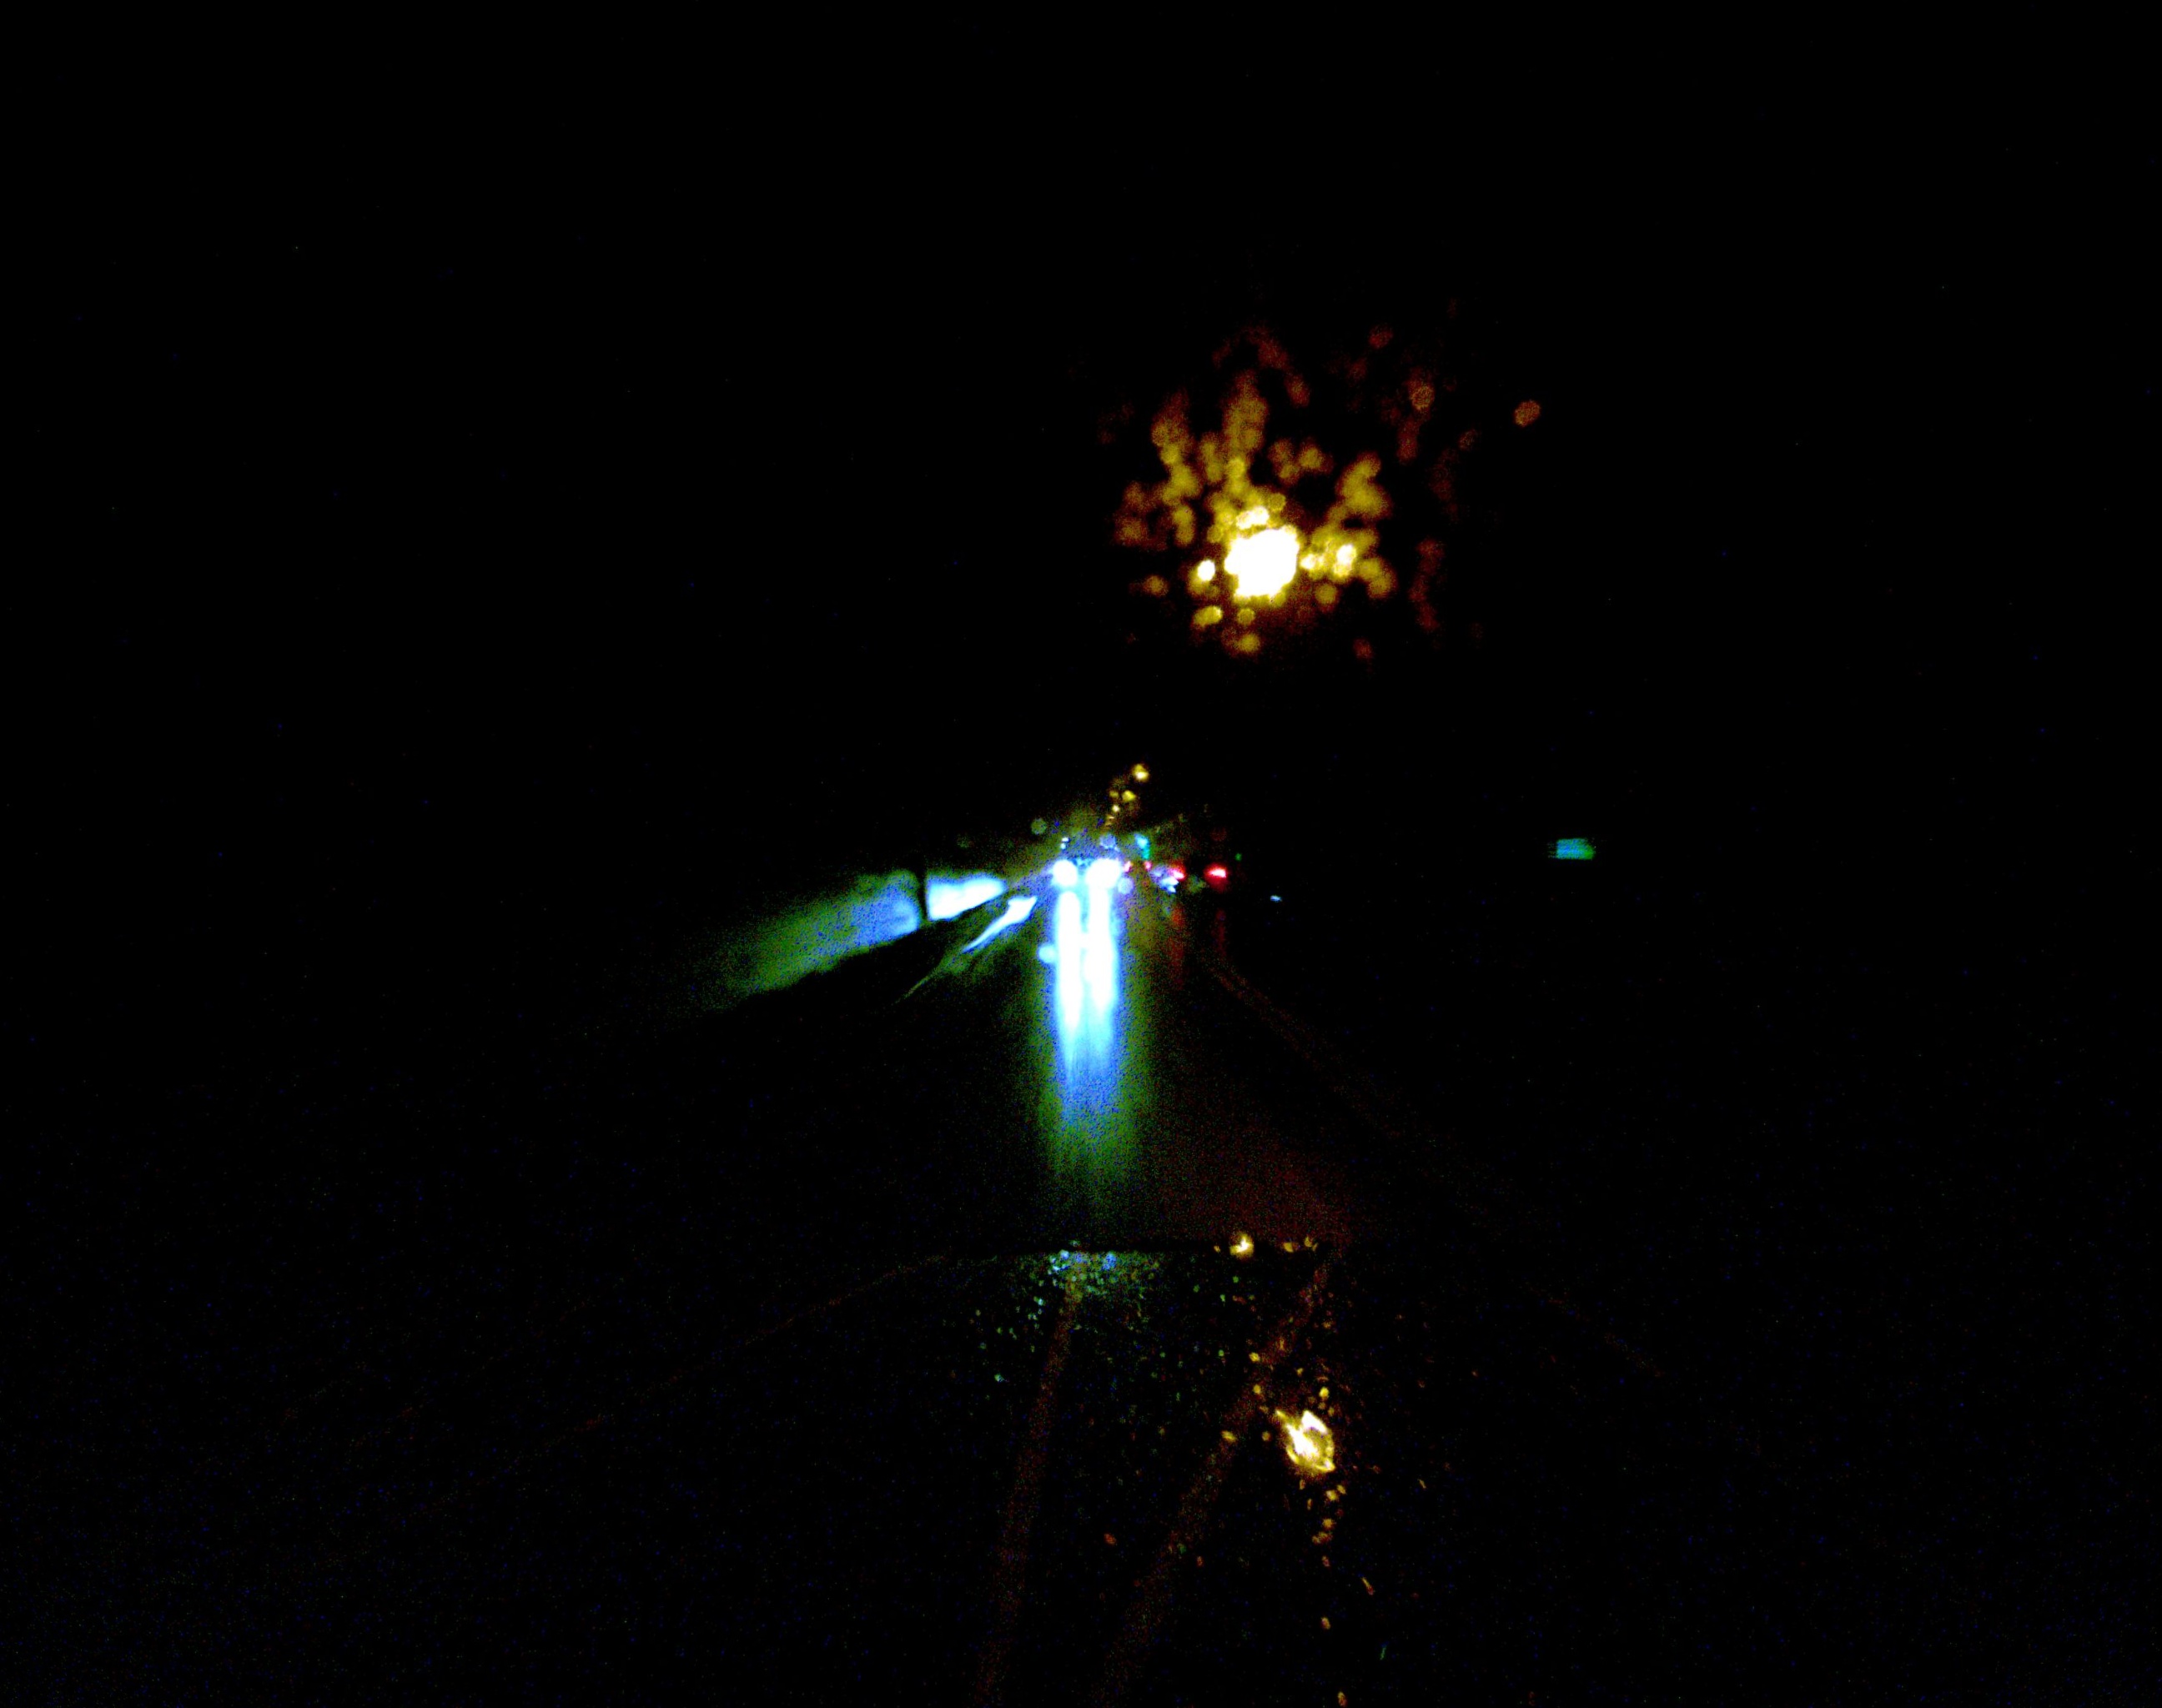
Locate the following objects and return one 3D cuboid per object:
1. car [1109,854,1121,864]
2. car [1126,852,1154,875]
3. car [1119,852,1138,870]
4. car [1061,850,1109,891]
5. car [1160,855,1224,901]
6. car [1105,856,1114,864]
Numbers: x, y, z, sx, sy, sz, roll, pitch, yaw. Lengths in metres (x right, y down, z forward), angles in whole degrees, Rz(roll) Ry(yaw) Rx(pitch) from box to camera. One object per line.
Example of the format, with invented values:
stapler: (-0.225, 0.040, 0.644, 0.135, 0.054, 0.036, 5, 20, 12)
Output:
car: (5.061, 0.773, 114.153, 1.715, 1.454, 3.575, -1, 0, 1)
car: (4.181, 0.669, 54.086, 1.705, 1.546, 3.873, -2, 0, 1)
car: (4.634, 0.714, 74.427, 1.673, 1.637, 3.907, 1, -1, 1)
car: (0.215, 0.733, 35.982, 1.998, 1.547, 3.999, -5, 2, 1)
car: (3.744, 0.759, 26.050, 1.694, 1.414, 3.625, -1, 0, 1)
car: (6.082, 1.267, 160.488, 1.695, 1.496, 3.744, -2, 0, 0)
